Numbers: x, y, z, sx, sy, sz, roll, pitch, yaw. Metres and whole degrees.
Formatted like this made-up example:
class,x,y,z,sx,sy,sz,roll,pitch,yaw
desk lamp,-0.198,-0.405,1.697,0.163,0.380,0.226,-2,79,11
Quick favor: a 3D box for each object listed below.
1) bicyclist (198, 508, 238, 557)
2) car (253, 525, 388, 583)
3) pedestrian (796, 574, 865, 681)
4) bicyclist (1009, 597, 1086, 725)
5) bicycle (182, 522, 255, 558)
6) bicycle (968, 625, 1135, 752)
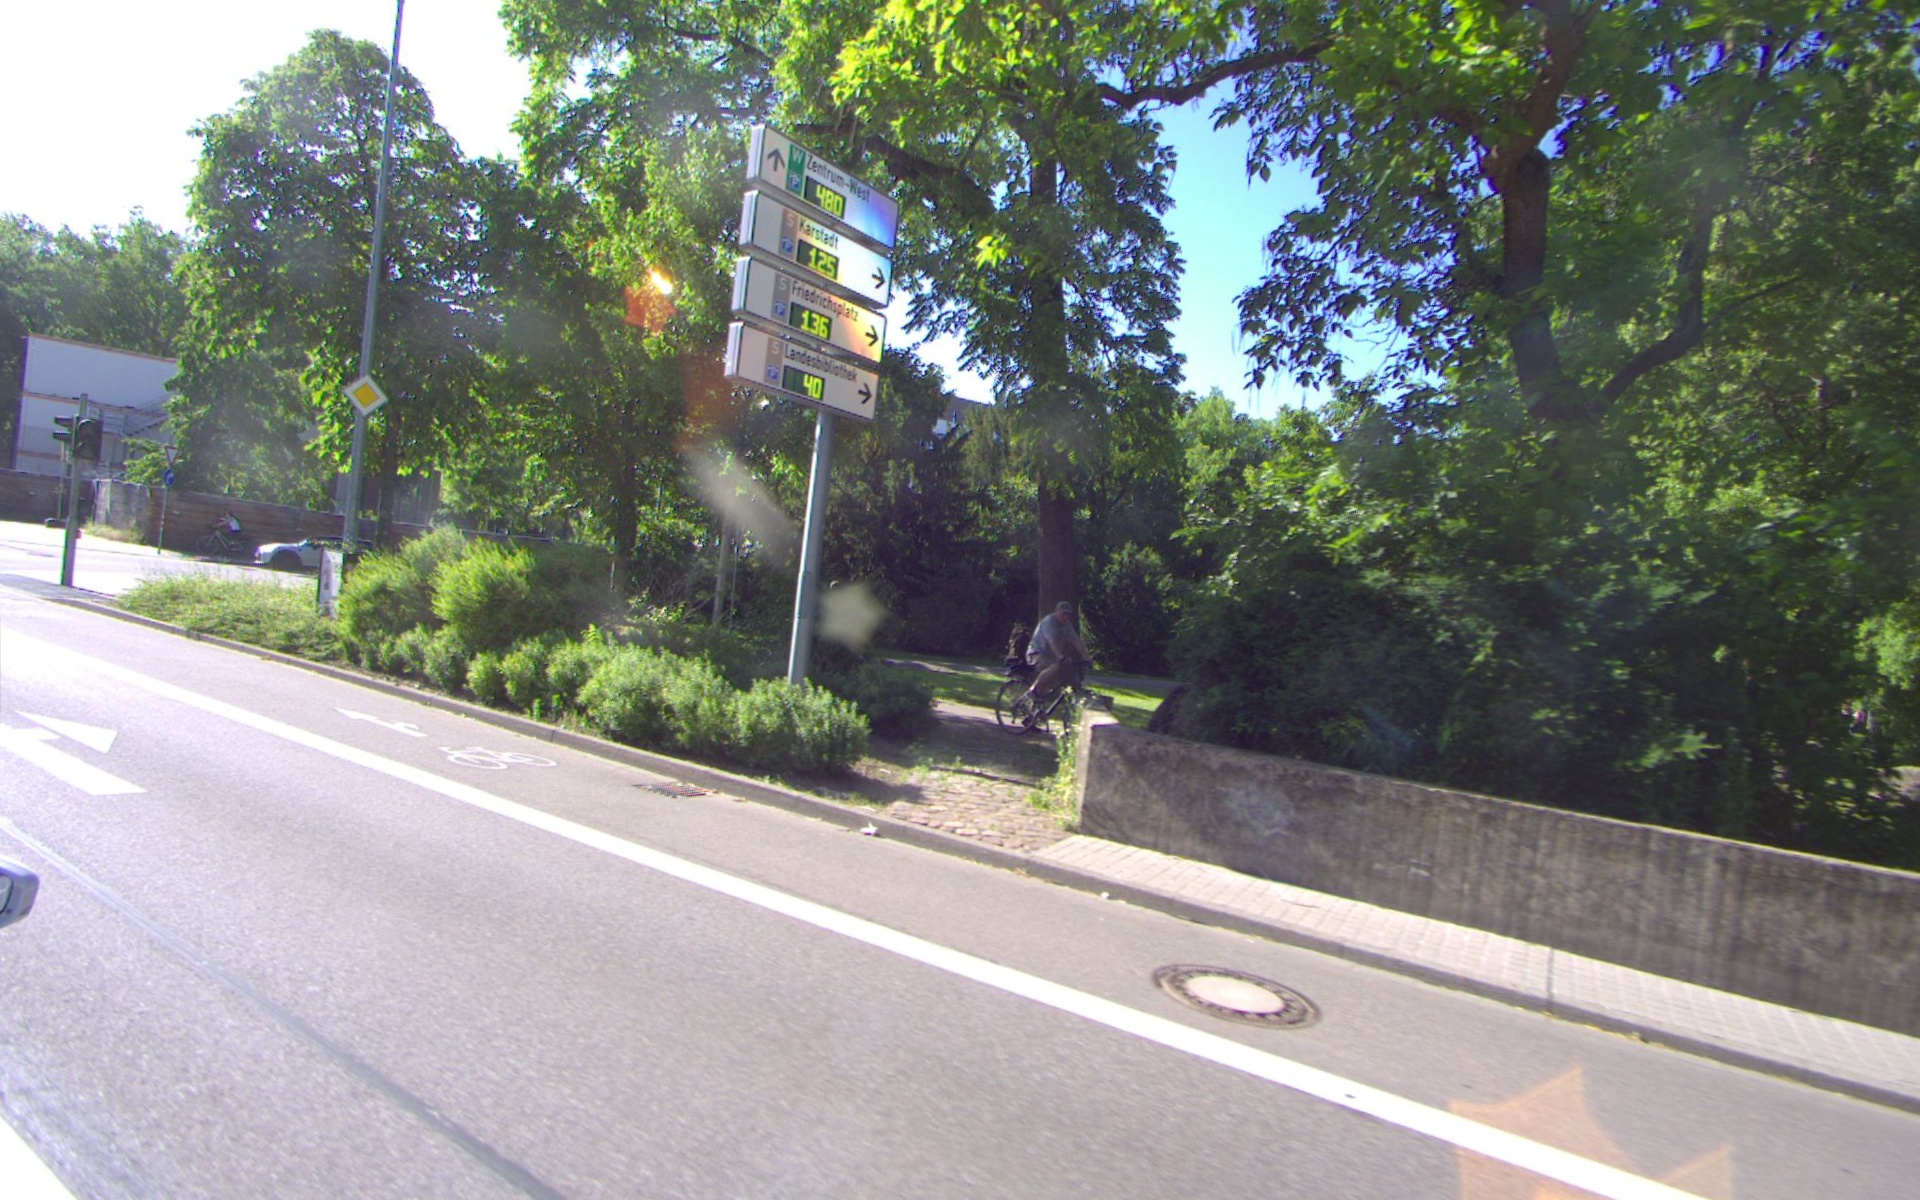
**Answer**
class,x,y,z,sx,sy,sz,roll,pitch,yaw
bicyclist,-27.634,-2.512,37.472,0.730,1.694,0.851,7,1,25
car,-22.604,-1.606,35.607,3.688,1.453,1.751,9,-1,-43
pedestrian,-2.230,0.479,17.412,0.859,1.723,0.738,7,0,2
bicyclist,1.109,0.772,12.711,0.561,1.525,0.688,7,0,31
bicycle,-27.665,-2.228,37.590,0.593,1.127,2.121,7,1,25
bicycle,1.137,1.083,12.672,1.878,1.307,0.623,7,0,31
